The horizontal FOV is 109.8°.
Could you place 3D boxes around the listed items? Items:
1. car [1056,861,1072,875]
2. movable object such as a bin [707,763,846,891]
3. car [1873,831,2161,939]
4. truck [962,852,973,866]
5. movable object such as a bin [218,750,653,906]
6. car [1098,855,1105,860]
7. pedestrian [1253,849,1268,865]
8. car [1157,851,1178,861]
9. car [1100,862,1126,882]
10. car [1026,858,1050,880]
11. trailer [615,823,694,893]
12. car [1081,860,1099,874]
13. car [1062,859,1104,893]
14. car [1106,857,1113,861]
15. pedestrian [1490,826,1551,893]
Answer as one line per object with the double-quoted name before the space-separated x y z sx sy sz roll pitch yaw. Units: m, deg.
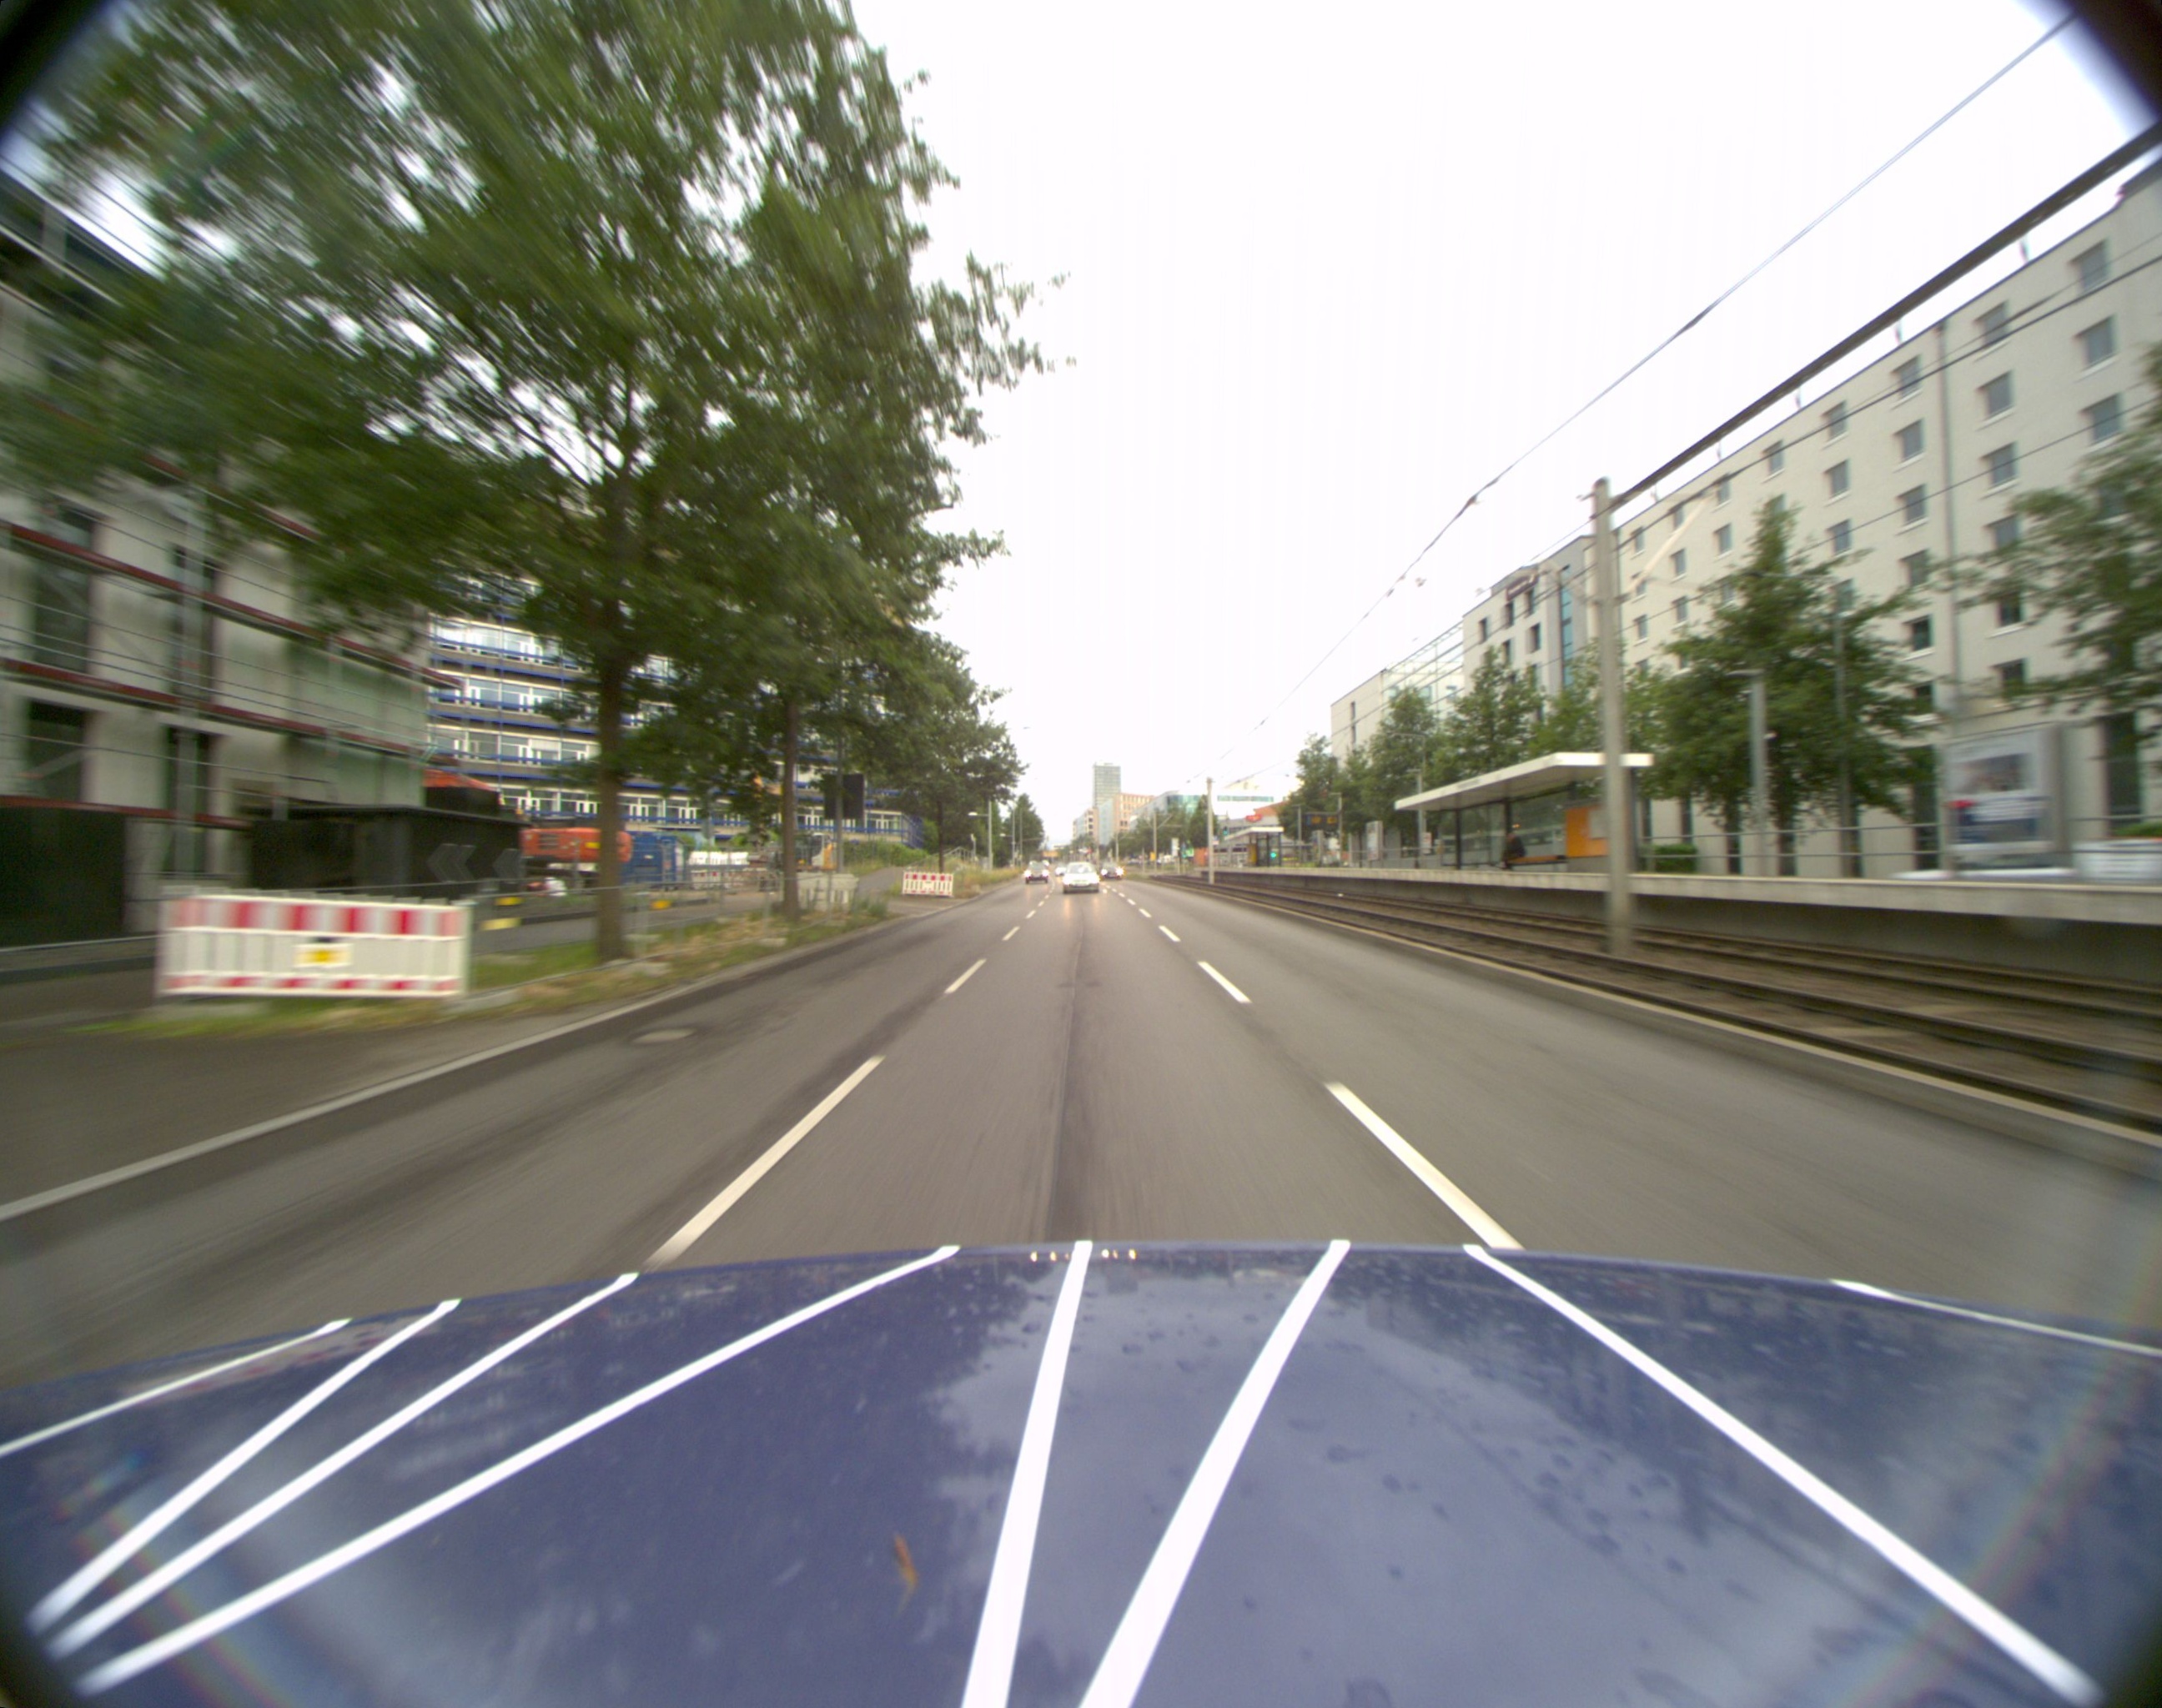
"car" -2.111 1.736 94.958 1.781 1.551 3.739 -2 0 -3
"movable object such as a bin" -15.169 -1.260 38.829 3.298 5.652 8.762 -2 1 0
"car" 19.447 0.544 15.199 1.998 1.836 5.002 0 0 0
"truck" -20.307 0.860 136.027 1.751 2.503 3.997 -3 1 -7
"movable object such as a bin" -22.852 -0.910 27.637 12.174 5.231 3.788 0 1 -3
"car" 6.998 1.190 255.557 1.859 1.419 4.386 1 0 -5
"pedestrian" 14.313 0.231 60.596 0.964 1.292 0.684 -1 0 -2
"car" 24.737 0.692 218.268 5.489 2.614 2.275 -3 1 -21
"car" 2.620 1.480 63.425 1.799 1.492 3.999 -2 0 -3
"car" -3.508 1.177 61.990 1.816 1.660 4.547 -2 0 -3
"trailer" -20.732 0.189 37.314 2.649 3.025 7.483 -3 1 -25
"car" 1.071 1.542 93.212 1.781 1.670 4.129 -2 0 -3
"car" 0.046 1.063 37.922 1.804 1.533 4.373 -2 0 -3
"car" 8.821 1.533 237.465 1.733 1.415 3.778 -1 0 -4
"pedestrian" 13.874 0.160 24.030 1.129 2.002 1.270 -2 1 0
